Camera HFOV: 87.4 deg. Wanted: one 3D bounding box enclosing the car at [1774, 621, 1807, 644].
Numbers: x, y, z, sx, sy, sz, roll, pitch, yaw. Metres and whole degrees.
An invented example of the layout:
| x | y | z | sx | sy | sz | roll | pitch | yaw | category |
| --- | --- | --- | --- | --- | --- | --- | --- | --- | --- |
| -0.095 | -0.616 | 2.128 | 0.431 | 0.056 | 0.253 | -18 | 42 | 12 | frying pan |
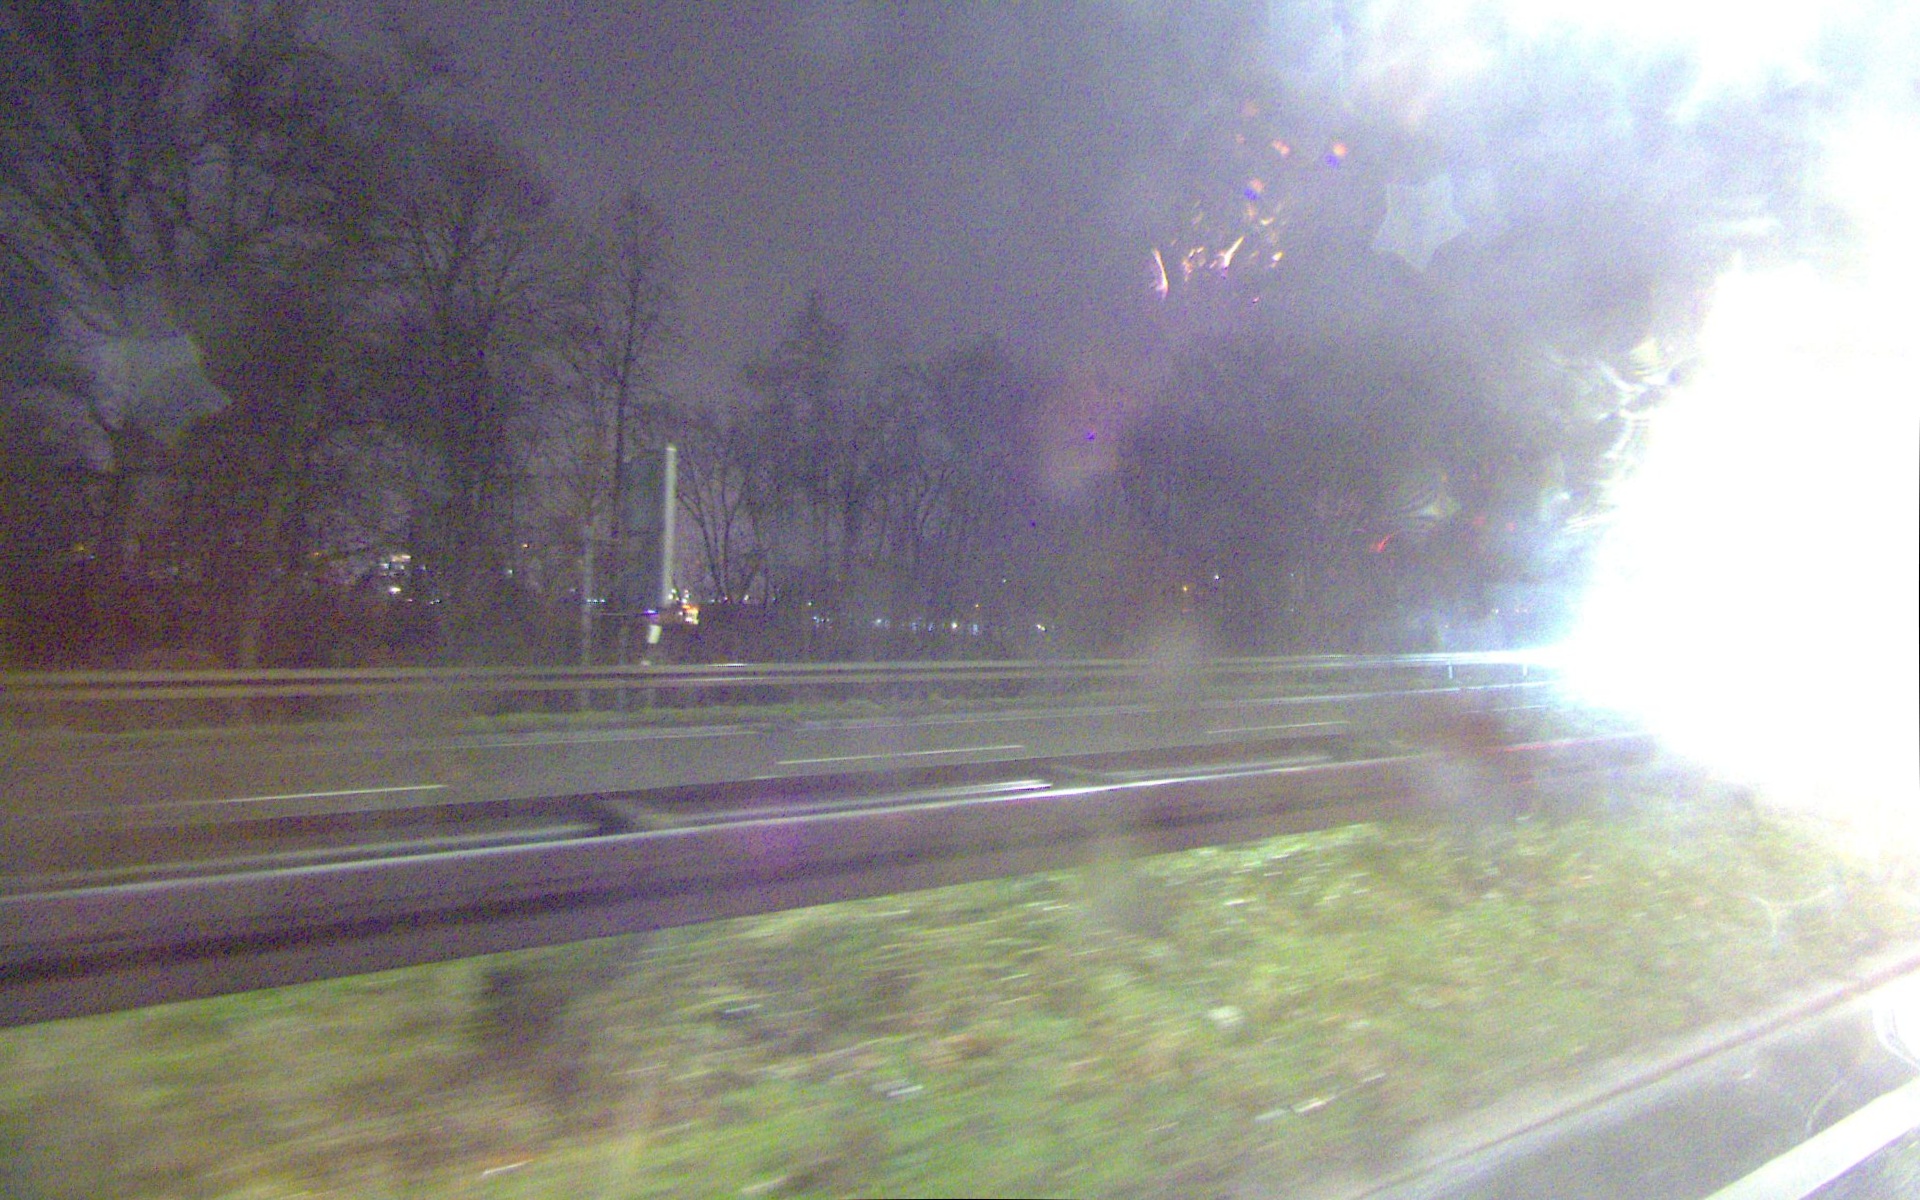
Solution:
| x | y | z | sx | sy | sz | roll | pitch | yaw | category |
| --- | --- | --- | --- | --- | --- | --- | --- | --- | --- |
| 65.114 | 2.543 | 78.821 | 1.764 | 1.668 | 3.985 | 1 | -1 | 37 | car |

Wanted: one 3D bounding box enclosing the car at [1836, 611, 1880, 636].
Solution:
| x | y | z | sx | sy | sz | roll | pitch | yaw | category |
| --- | --- | --- | --- | --- | --- | --- | --- | --- | --- |
| 76.060 | 1.966 | 85.110 | 2.181 | 2.040 | 3.989 | 1 | 0 | 33 | car |
